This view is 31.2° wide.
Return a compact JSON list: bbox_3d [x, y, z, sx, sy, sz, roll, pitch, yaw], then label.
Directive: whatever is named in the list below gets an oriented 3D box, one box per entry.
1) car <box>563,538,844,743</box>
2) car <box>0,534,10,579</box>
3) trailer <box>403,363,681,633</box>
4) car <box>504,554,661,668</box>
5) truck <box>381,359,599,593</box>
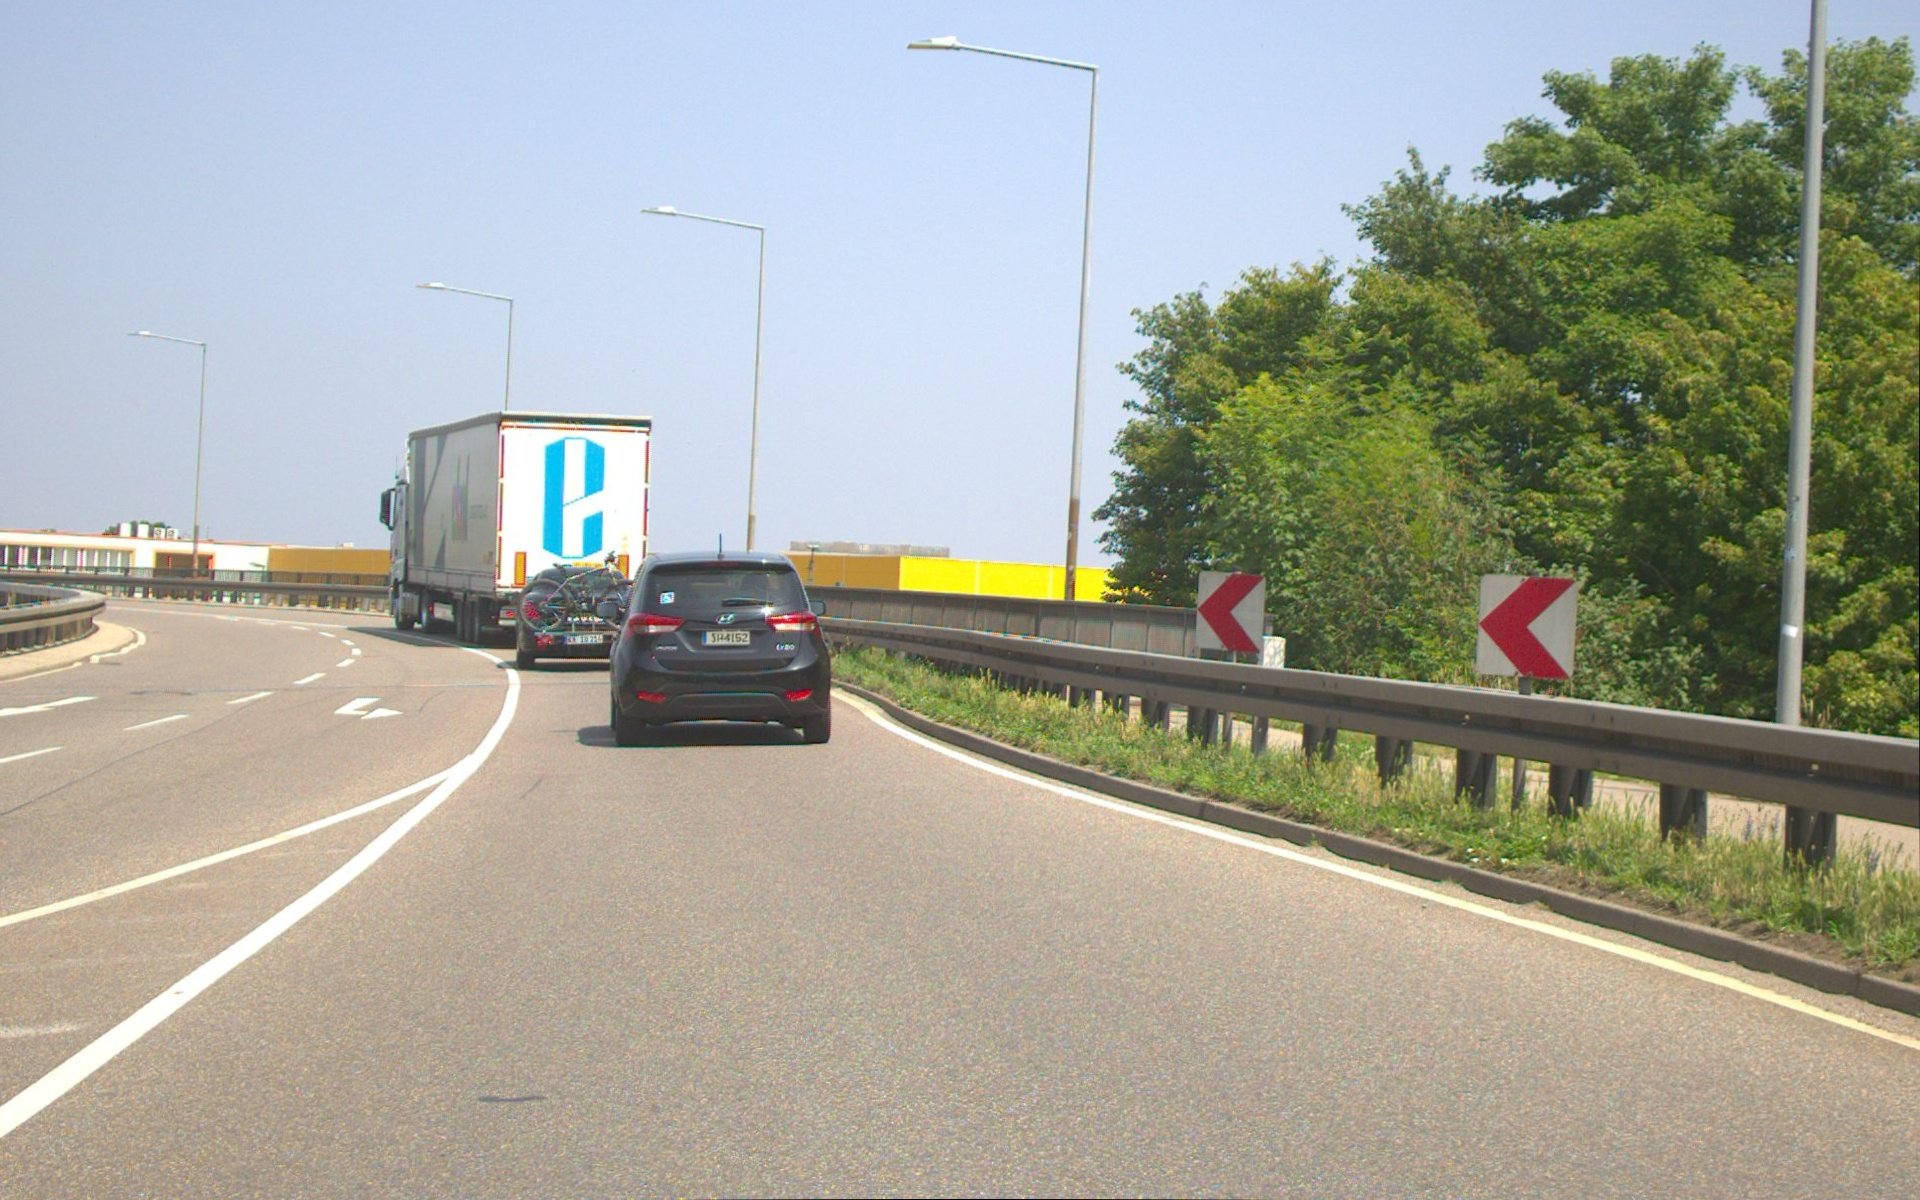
[{"bbox_3d":[-2.263,0.291,29.369,1.921,1.568,3.893,2,1,-10],"label":"car"},{"bbox_3d":[-33.747,-1.546,116.706,1.840,1.503,3.634,2,1,-33],"label":"car"},{"bbox_3d":[-7.881,-1.809,63.075,3.568,4.369,11.444,2,1,-14],"label":"trailer"},{"bbox_3d":[-5.245,0.121,47.541,2.011,1.424,3.777,2,1,-7],"label":"car"},{"bbox_3d":[-9.727,-2.473,70.448,3.571,4.426,6.517,2,1,-14],"label":"truck"}]
